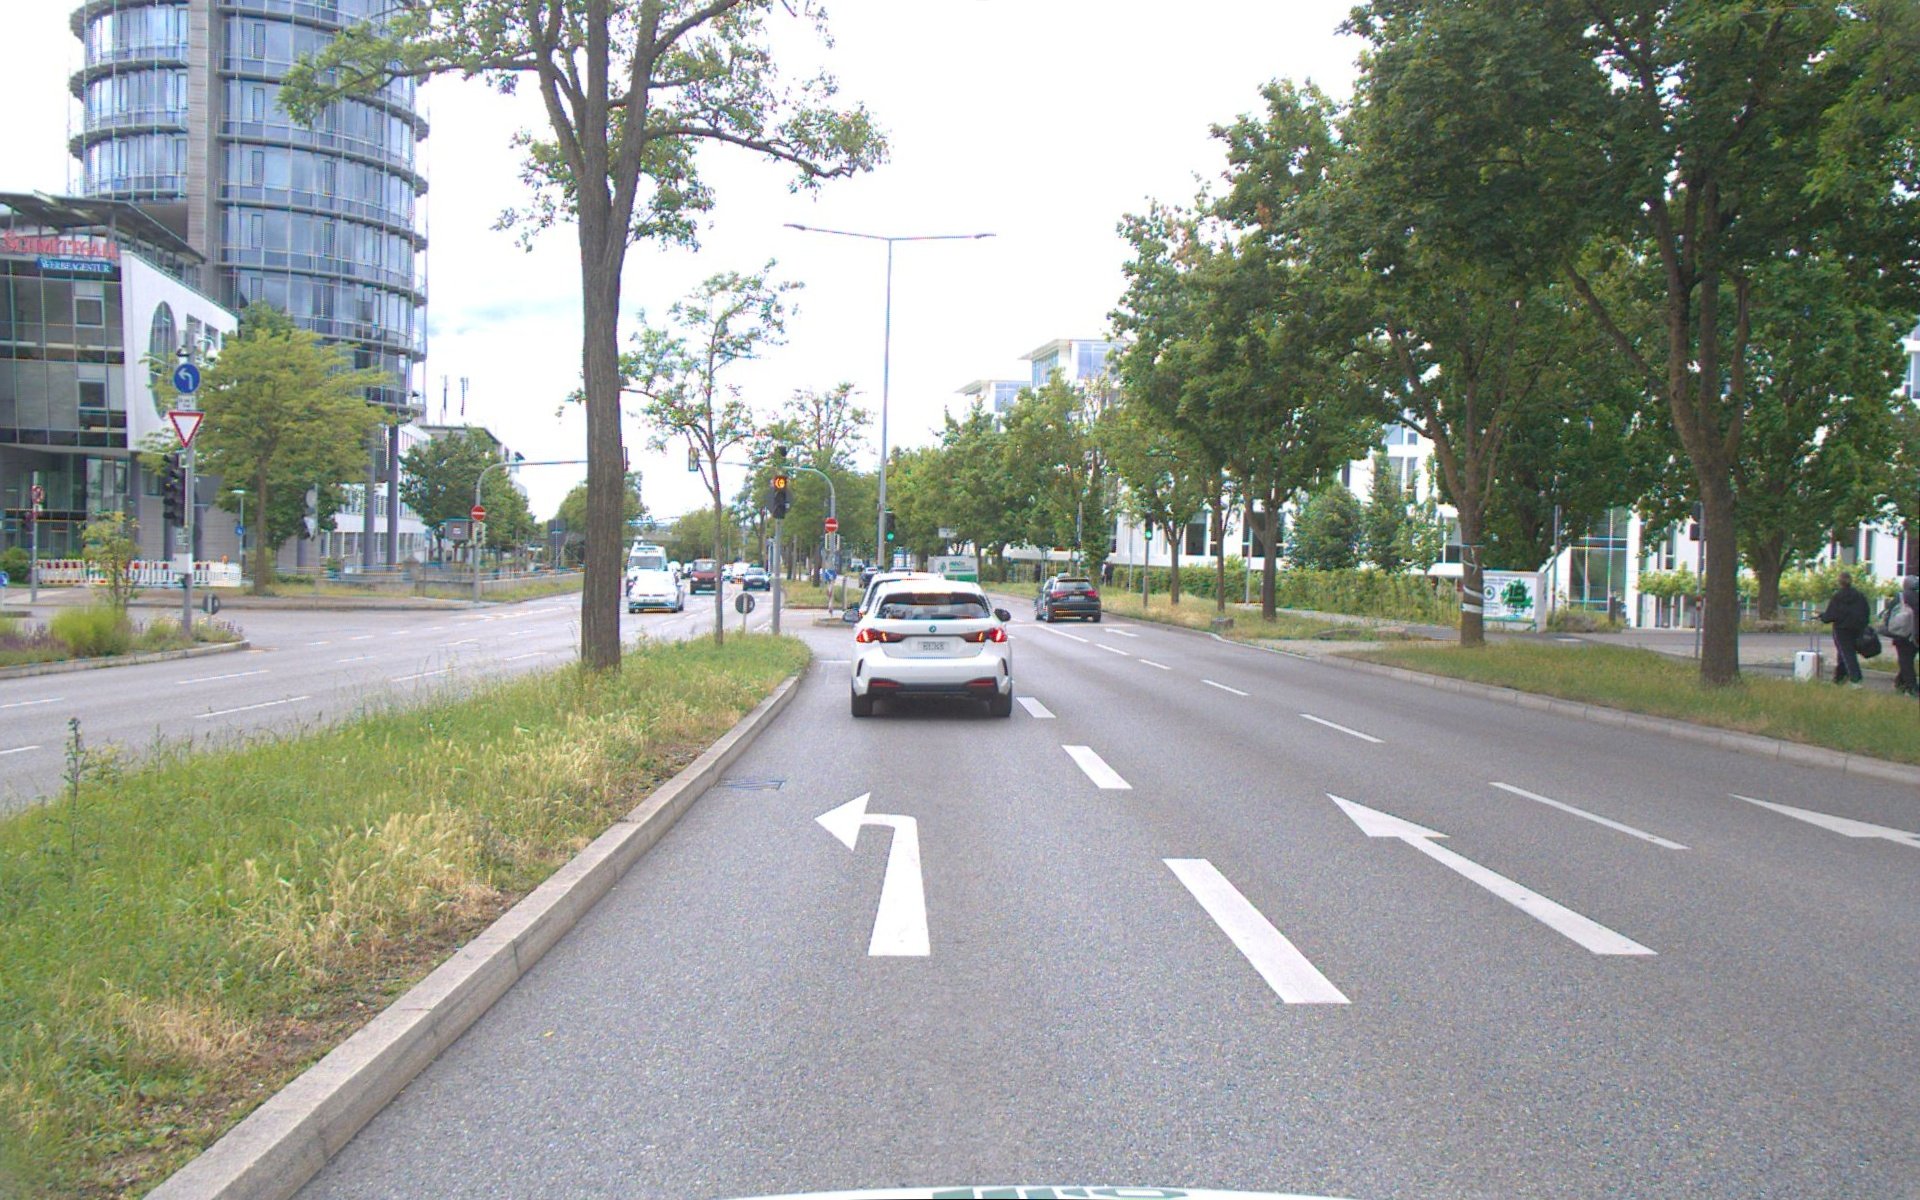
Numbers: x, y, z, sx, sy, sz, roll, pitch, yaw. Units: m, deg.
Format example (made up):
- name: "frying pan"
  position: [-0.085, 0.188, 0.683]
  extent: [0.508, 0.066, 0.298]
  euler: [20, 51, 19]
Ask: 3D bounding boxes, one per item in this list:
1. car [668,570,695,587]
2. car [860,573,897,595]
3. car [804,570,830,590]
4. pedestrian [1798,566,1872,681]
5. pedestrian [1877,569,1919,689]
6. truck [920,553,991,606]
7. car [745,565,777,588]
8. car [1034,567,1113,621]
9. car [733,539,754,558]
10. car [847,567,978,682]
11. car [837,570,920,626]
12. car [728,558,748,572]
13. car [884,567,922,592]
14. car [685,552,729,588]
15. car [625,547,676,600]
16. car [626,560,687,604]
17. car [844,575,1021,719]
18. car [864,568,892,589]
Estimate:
- name: "car"
  position: [-22.926, -1.781, 136.429]
  extent: [1.673, 1.443, 3.802]
  euler: [0, 1, -2]
- name: "car"
  position: [-5.938, -1.157, 119.750]
  extent: [1.959, 1.534, 3.987]
  euler: [1, 1, -13]
- name: "car"
  position: [-11.159, -1.581, 129.552]
  extent: [1.954, 1.516, 3.997]
  euler: [2, 1, -4]
- name: "pedestrian"
  position: [12.278, 0.326, 23.210]
  extent: [0.710, 1.579, 0.587]
  euler: [1, 0, 3]
- name: "pedestrian"
  position: [12.672, 0.389, 22.189]
  extent: [0.400, 1.579, 0.562]
  euler: [2, 0, 3]
- name: "truck"
  position: [-0.310, -1.048, 85.077]
  extent: [2.806, 2.563, 6.276]
  euler: [1, 0, -8]
- name: "car"
  position: [-12.652, -1.504, 105.272]
  extent: [1.718, 1.395, 3.778]
  euler: [0, 1, -2]
- name: "car"
  position: [3.558, -0.222, 52.637]
  extent: [1.954, 1.624, 3.997]
  euler: [1, 1, -4]
- name: "car"
  position: [-24.140, -5.710, 184.351]
  extent: [1.954, 2.045, 4.321]
  euler: [3, 1, -4]
- name: "car"
  position: [-0.740, 0.352, 26.911]
  extent: [1.953, 1.701, 3.999]
  euler: [1, 0, -1]
- name: "car"
  position: [-2.350, -0.054, 48.452]
  extent: [1.952, 1.534, 4.002]
  euler: [1, 0, 4]
- name: "car"
  position: [-27.038, -4.242, 201.504]
  extent: [1.953, 1.646, 3.999]
  euler: [3, 1, -2]
- name: "car"
  position: [-3.614, -1.290, 104.027]
  extent: [1.956, 1.534, 3.992]
  euler: [1, 1, -9]
- name: "car"
  position: [-14.341, -1.687, 93.937]
  extent: [1.896, 1.951, 4.971]
  euler: [1, 1, -2]
- name: "car"
  position: [-16.543, -1.428, 88.705]
  extent: [1.954, 2.679, 5.870]
  euler: [3, 1, -4]
- name: "car"
  position: [-11.039, -0.671, 60.386]
  extent: [1.719, 1.469, 4.131]
  euler: [3, 1, -4]
- name: "car"
  position: [-0.264, 0.477, 19.317]
  extent: [1.825, 1.474, 4.000]
  euler: [1, 0, 1]
- name: "car"
  position: [-6.137, -1.616, 122.830]
  extent: [1.954, 1.516, 3.997]
  euler: [2, 1, -4]
